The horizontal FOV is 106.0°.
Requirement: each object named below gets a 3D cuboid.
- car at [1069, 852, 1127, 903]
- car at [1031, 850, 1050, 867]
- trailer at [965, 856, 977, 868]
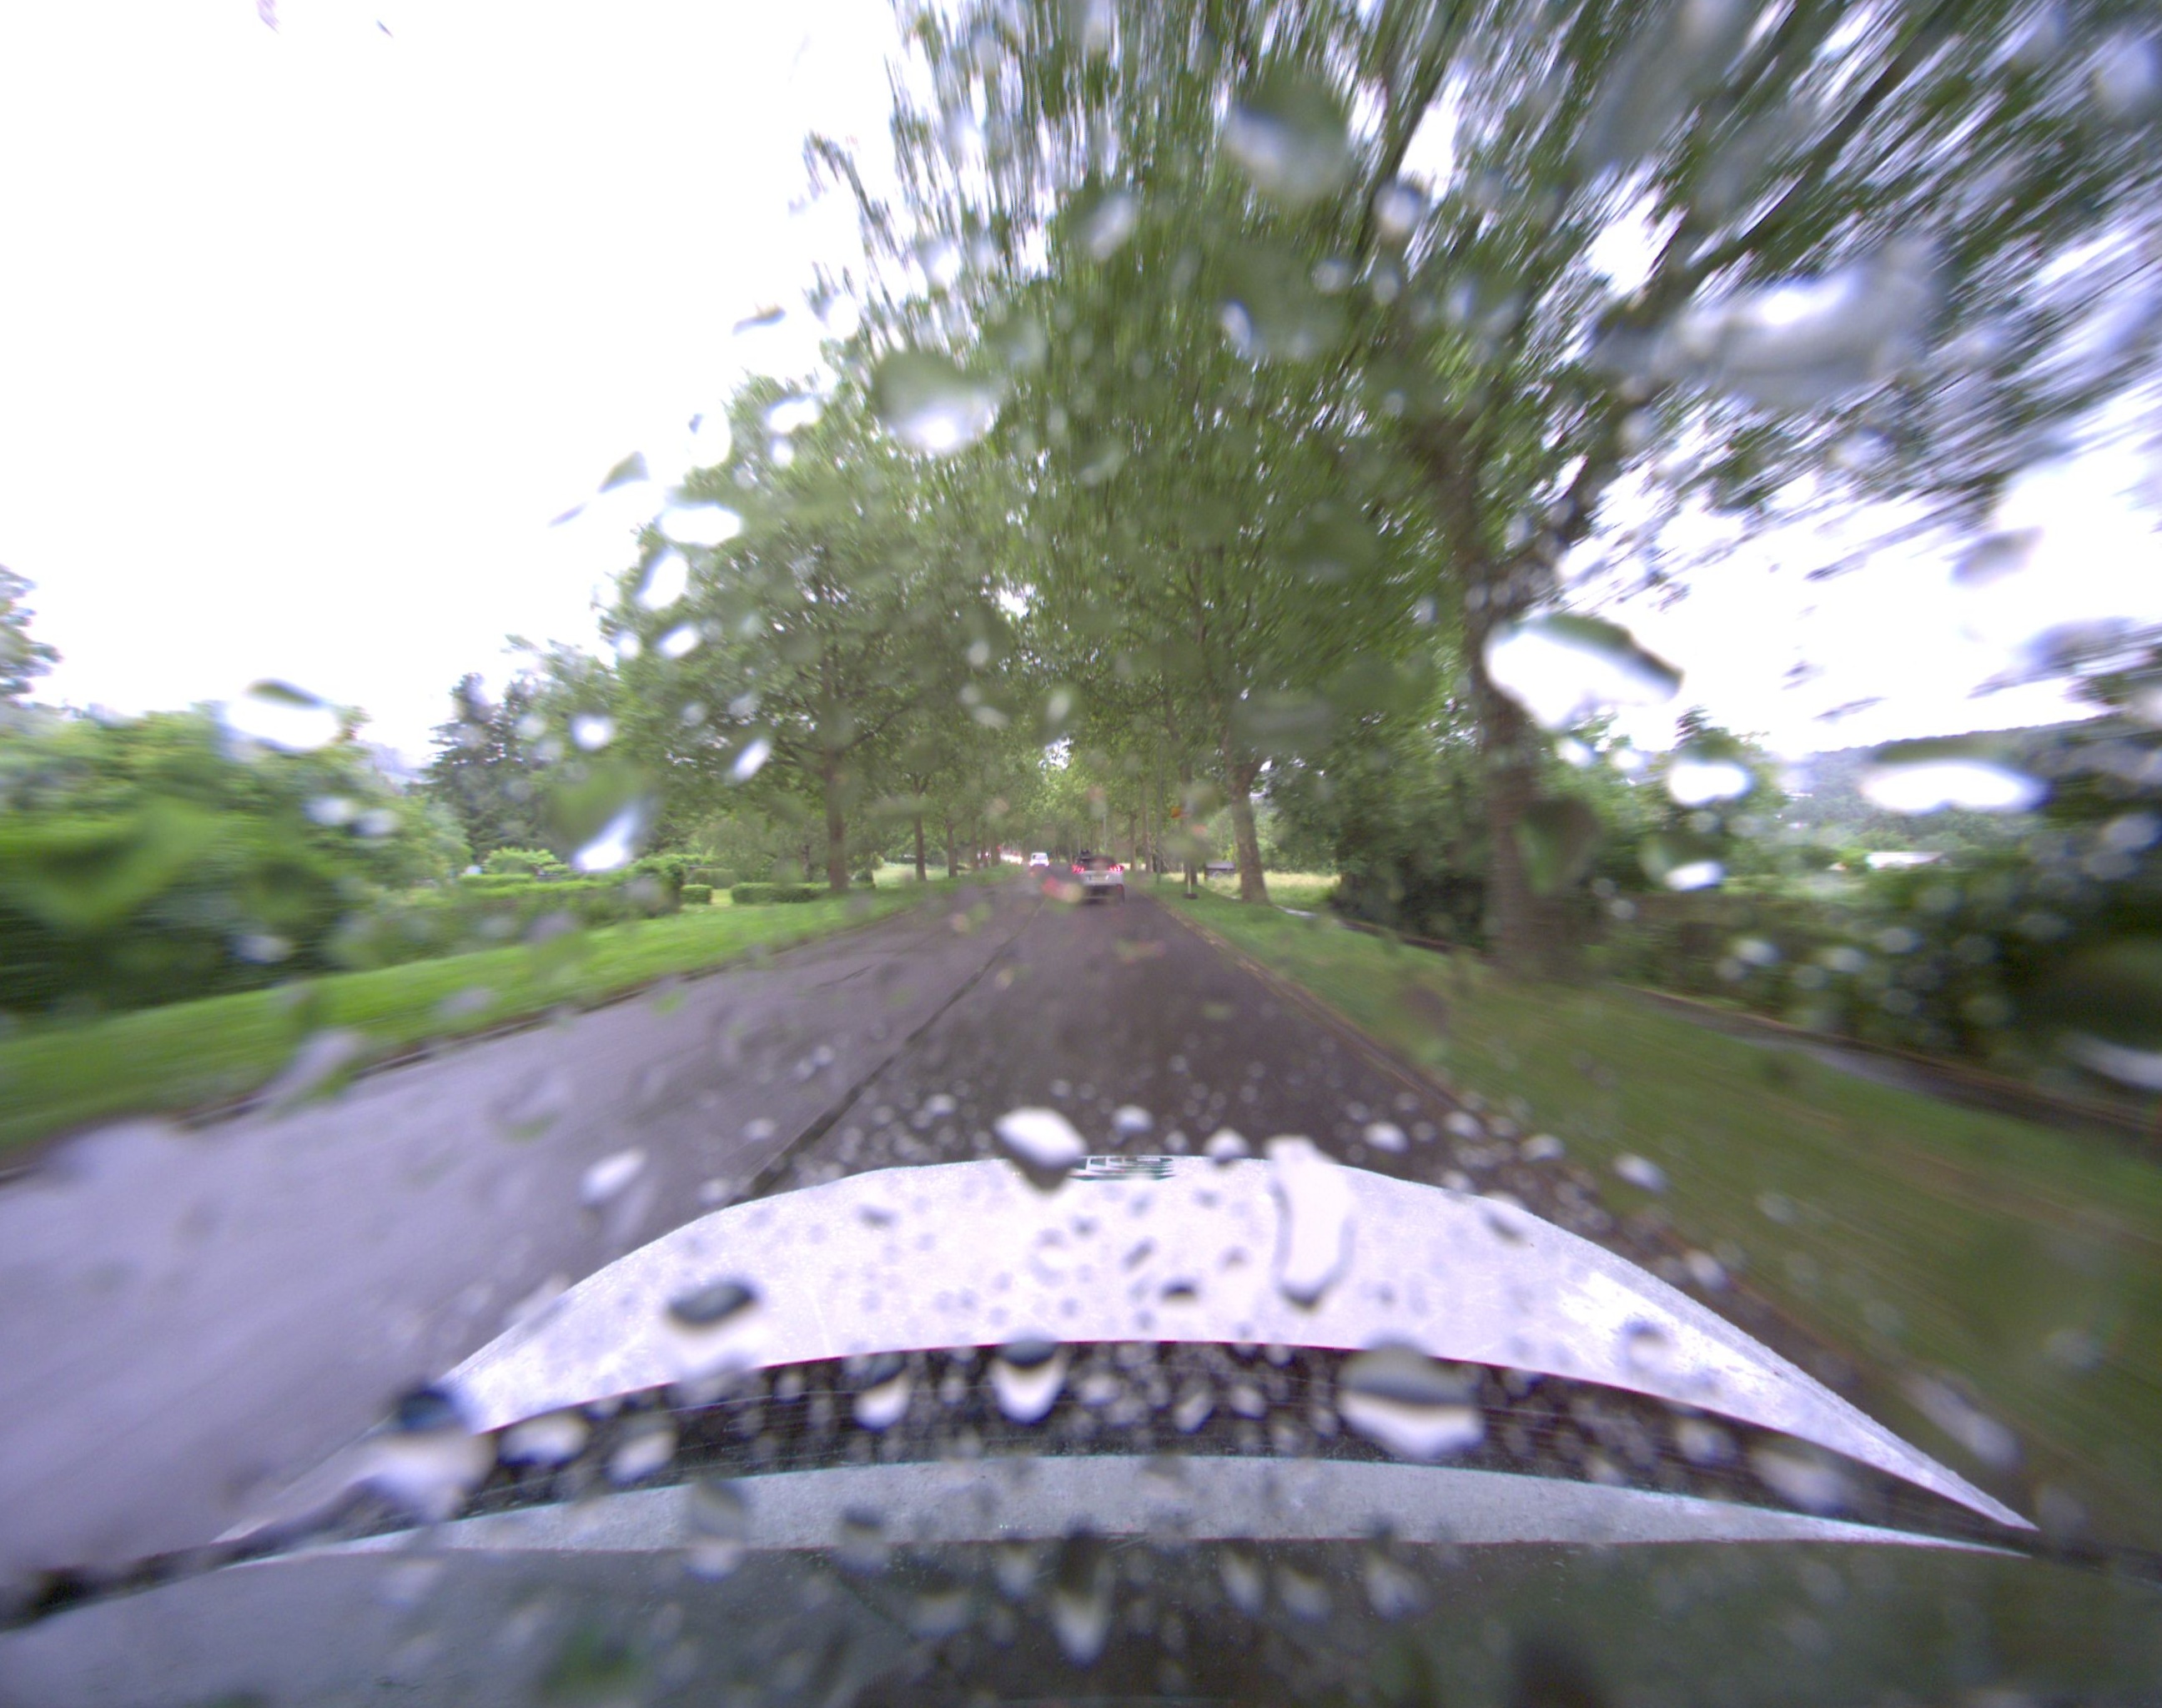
[{"bbox_3d":[0.622,0.738,27.286,1.786,1.578,3.847,0,0,3],"label":"car"},{"bbox_3d":[-4.282,0.489,86.175,1.857,1.750,5.013,0,0,-1],"label":"car"},{"bbox_3d":[-23.348,1.665,172.904,2.482,2.567,5.320,0,0,-7],"label":"trailer"}]
